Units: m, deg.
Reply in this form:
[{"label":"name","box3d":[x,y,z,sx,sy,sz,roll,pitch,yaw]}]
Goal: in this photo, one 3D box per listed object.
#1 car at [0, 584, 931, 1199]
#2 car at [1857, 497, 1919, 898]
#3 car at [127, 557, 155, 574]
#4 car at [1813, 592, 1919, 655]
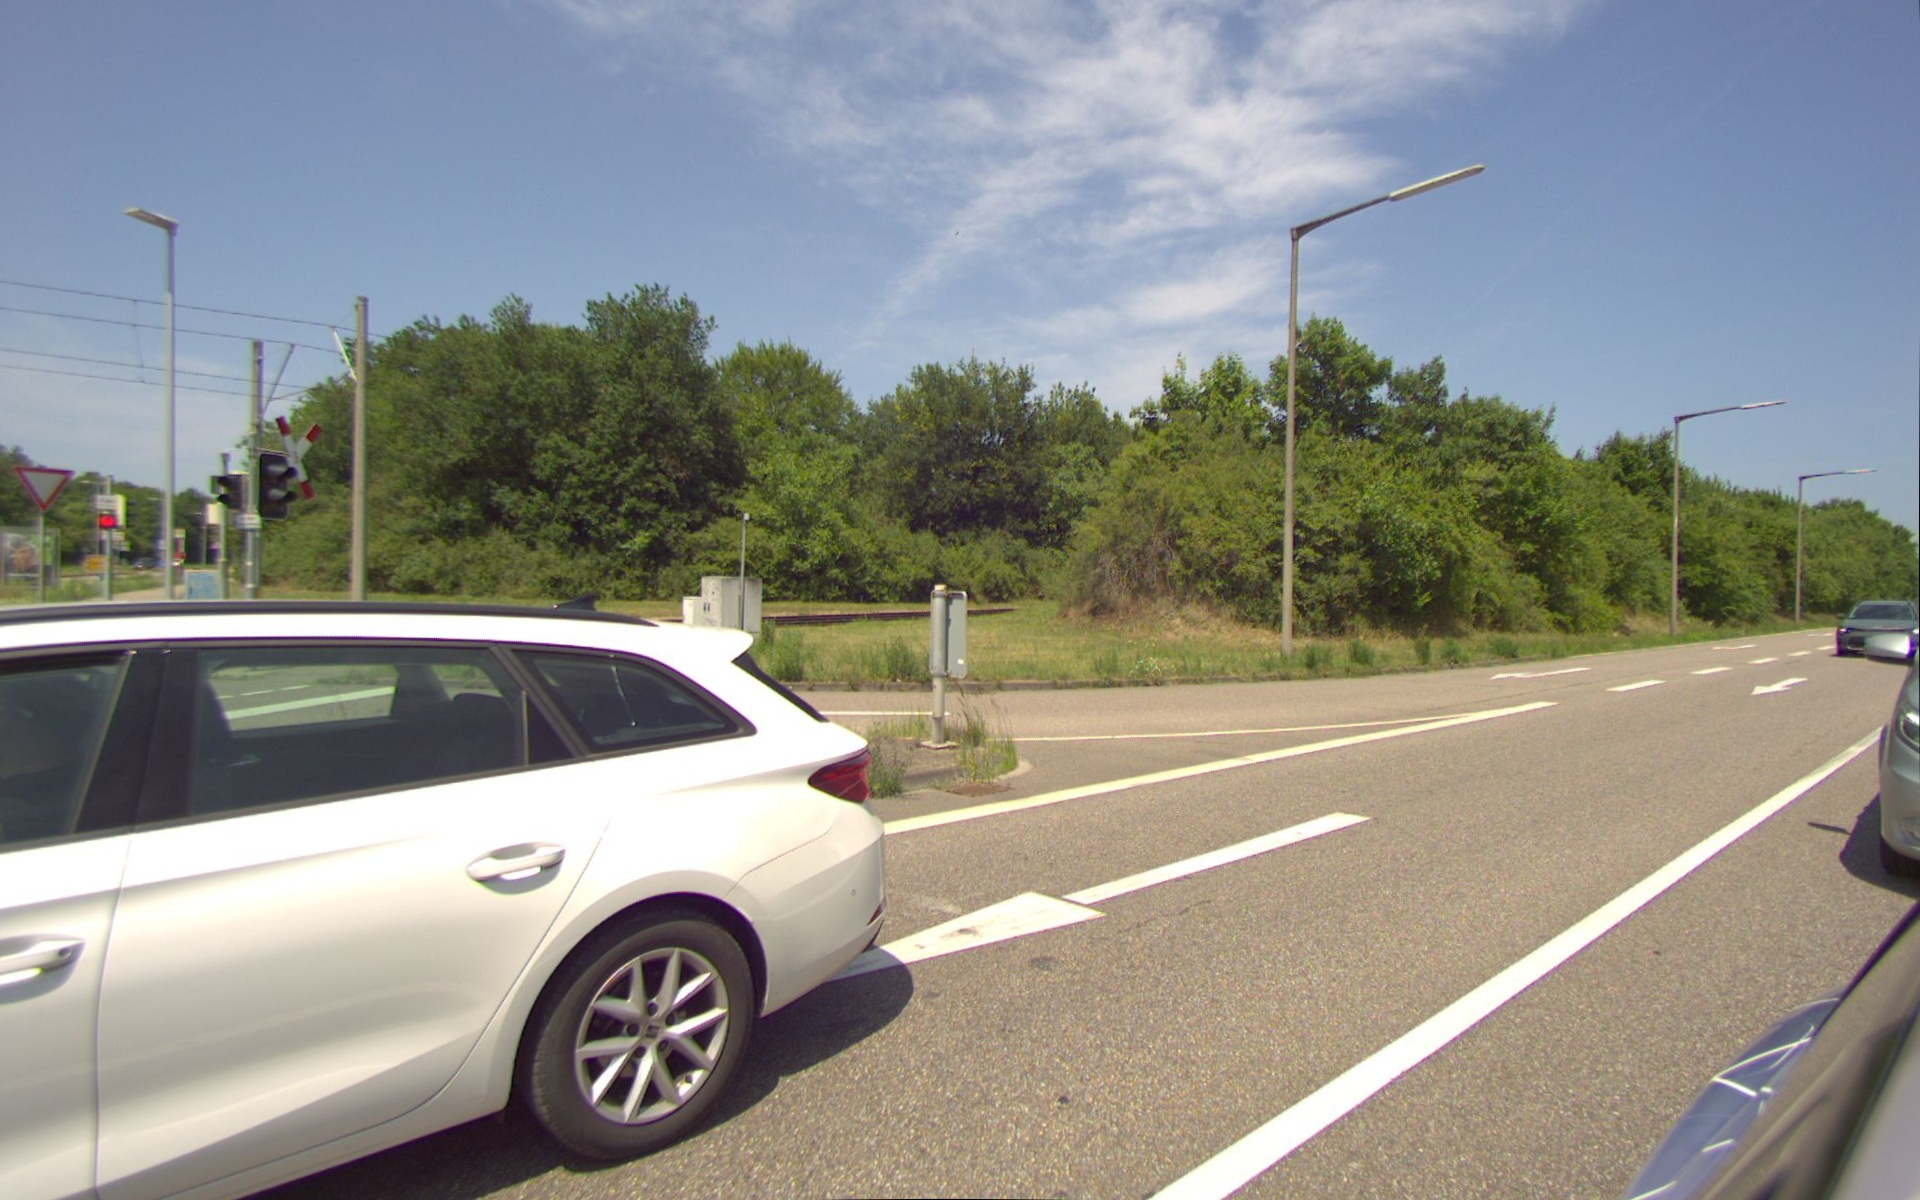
[{"label":"car","box3d":[-2.266,0.675,2.402,4.375,1.407,1.684,0,1,-43]},{"label":"car","box3d":[7.147,0.478,6.073,5.631,1.900,1.875,0,1,-41]},{"label":"car","box3d":[-92.382,-3.841,114.150,1.961,1.812,4.003,1,1,-32]},{"label":"car","box3d":[25.655,0.616,28.524,3.928,1.616,1.723,0,1,-39]}]
